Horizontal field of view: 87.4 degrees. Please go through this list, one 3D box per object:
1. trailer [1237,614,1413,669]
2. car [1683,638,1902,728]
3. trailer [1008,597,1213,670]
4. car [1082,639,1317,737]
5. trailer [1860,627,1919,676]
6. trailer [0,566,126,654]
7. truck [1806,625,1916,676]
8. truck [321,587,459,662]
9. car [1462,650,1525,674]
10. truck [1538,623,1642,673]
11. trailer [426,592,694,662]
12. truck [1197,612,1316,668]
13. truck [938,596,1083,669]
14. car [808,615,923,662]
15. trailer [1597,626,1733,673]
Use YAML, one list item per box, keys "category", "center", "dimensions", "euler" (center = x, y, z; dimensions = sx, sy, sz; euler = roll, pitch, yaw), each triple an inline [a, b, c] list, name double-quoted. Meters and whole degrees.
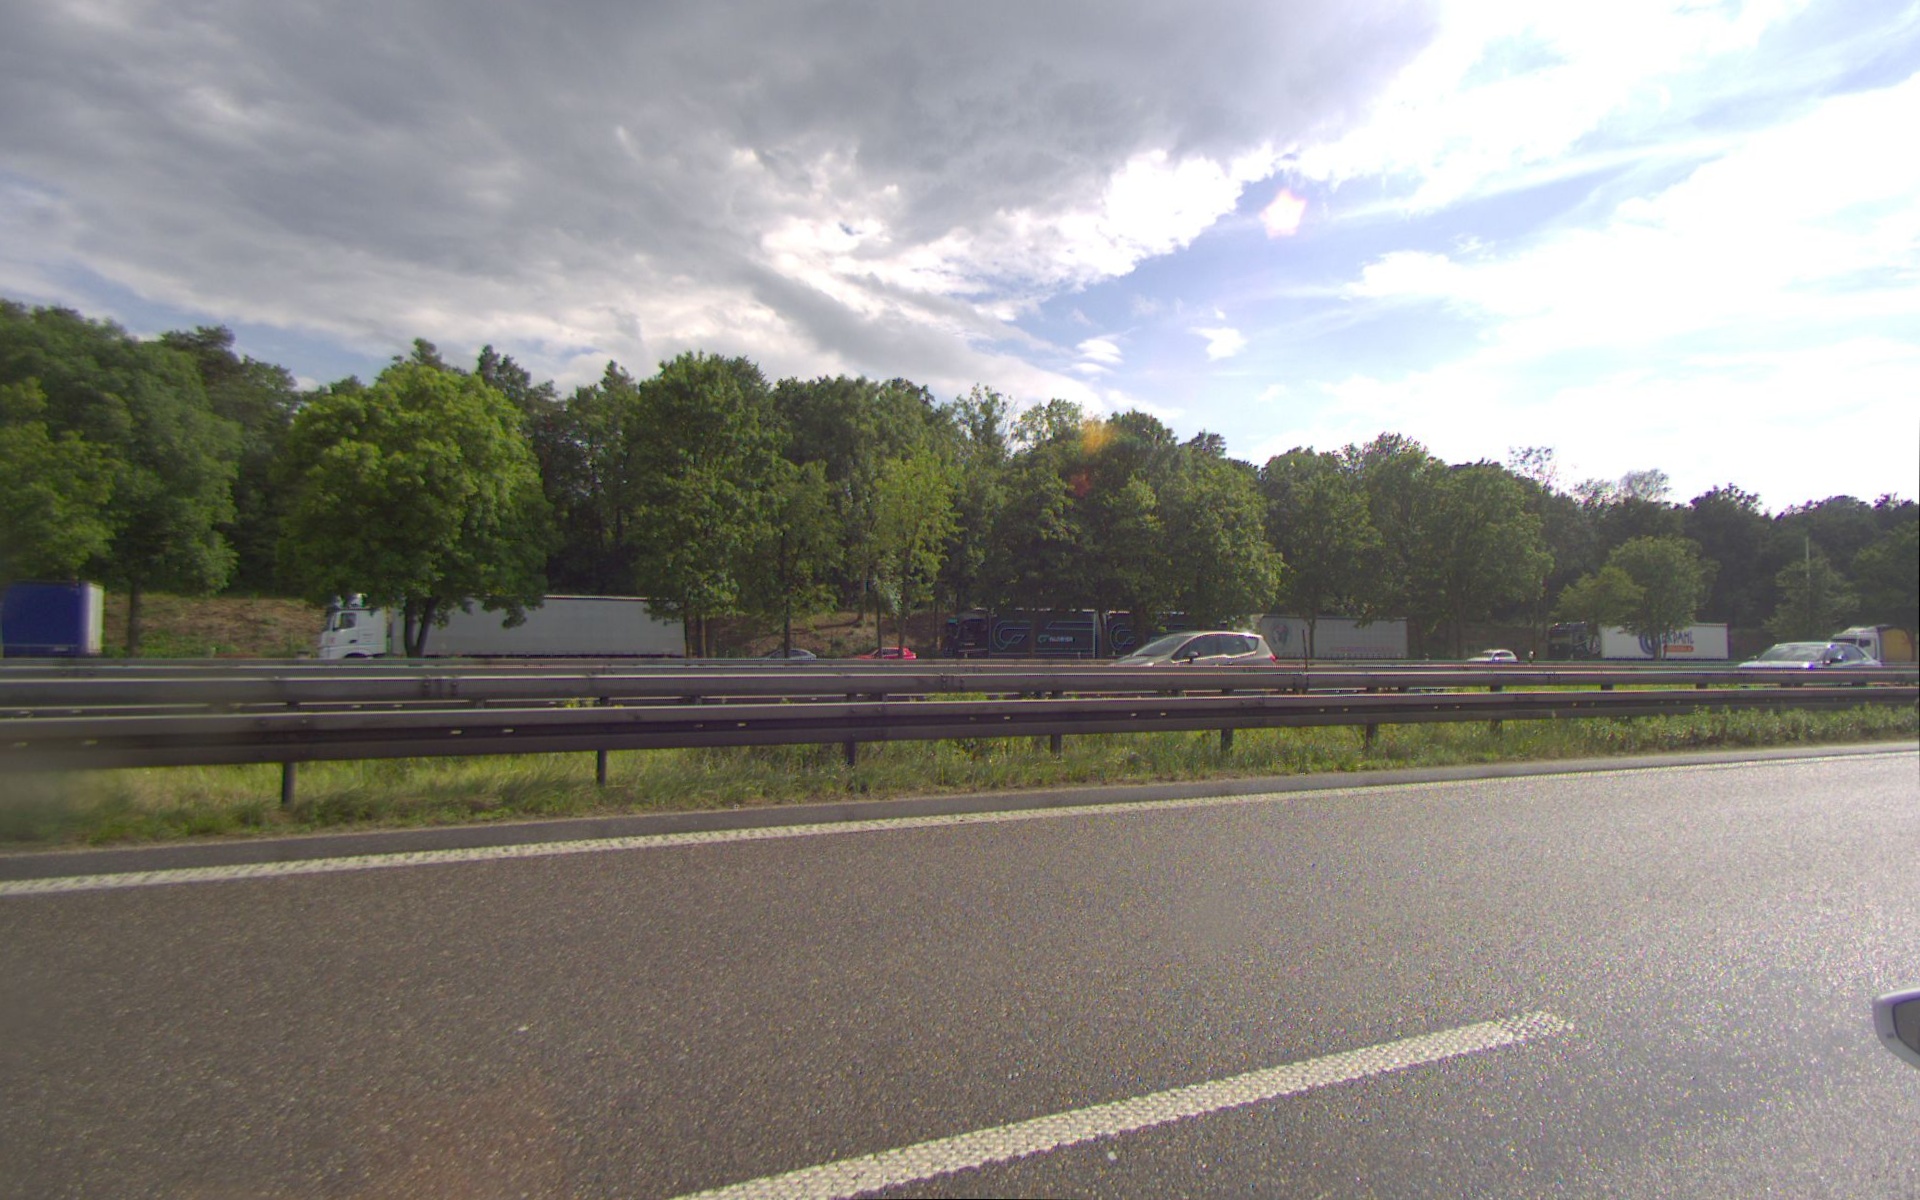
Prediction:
- category: "trailer"
  center: [26.802, 3.068, 73.523]
  dimensions: [13.157, 3.697, 3.780]
  euler: [2, -2, -24]
- category: "car"
  center: [20.366, 1.998, 24.570]
  dimensions: [4.714, 1.916, 2.294]
  euler: [2, 0, -25]
- category: "trailer"
  center: [10.111, 2.303, 66.840]
  dimensions: [13.607, 4.464, 3.780]
  euler: [2, -1, -24]
- category: "car"
  center: [5.385, 1.930, 22.590]
  dimensions: [4.714, 1.916, 2.294]
  euler: [2, 0, -25]
- category: "trailer"
  center: [88.349, 4.802, 91.003]
  dimensions: [11.517, 4.171, 3.793]
  euler: [2, 0, -11]
- category: "trailer"
  center: [-41.263, 0.321, 38.977]
  dimensions: [13.276, 3.449, 2.808]
  euler: [2, -2, -32]
- category: "truck"
  center: [80.215, 4.475, 89.475]
  dimensions: [6.920, 4.171, 3.793]
  euler: [2, 0, -11]
- category: "truck"
  center: [-27.036, 1.153, 47.916]
  dimensions: [5.439, 3.316, 3.339]
  euler: [2, 0, -28]
- category: "car"
  center: [41.762, 4.846, 78.653]
  dimensions: [4.304, 1.741, 2.055]
  euler: [2, 0, -22]
- category: "truck"
  center: [51.205, 3.891, 81.720]
  dimensions: [6.601, 3.709, 3.784]
  euler: [2, 0, -19]
- category: "trailer"
  center: [-20.221, 1.449, 51.400]
  dimensions: [12.312, 3.259, 3.336]
  euler: [2, -2, -27]
- category: "truck"
  center: [20.932, 2.840, 70.961]
  dimensions: [7.252, 3.637, 3.778]
  euler: [2, 0, -24]
- category: "truck"
  center: [3.193, 2.085, 63.731]
  dimensions: [8.300, 4.290, 3.778]
  euler: [2, 0, -24]
- category: "car"
  center: [-5.571, 2.292, 59.277]
  dimensions: [6.124, 2.515, 2.786]
  euler: [2, 0, -24]
- category: "trailer"
  center: [59.168, 4.168, 84.306]
  dimensions: [10.328, 3.697, 3.788]
  euler: [2, -1, -17]
